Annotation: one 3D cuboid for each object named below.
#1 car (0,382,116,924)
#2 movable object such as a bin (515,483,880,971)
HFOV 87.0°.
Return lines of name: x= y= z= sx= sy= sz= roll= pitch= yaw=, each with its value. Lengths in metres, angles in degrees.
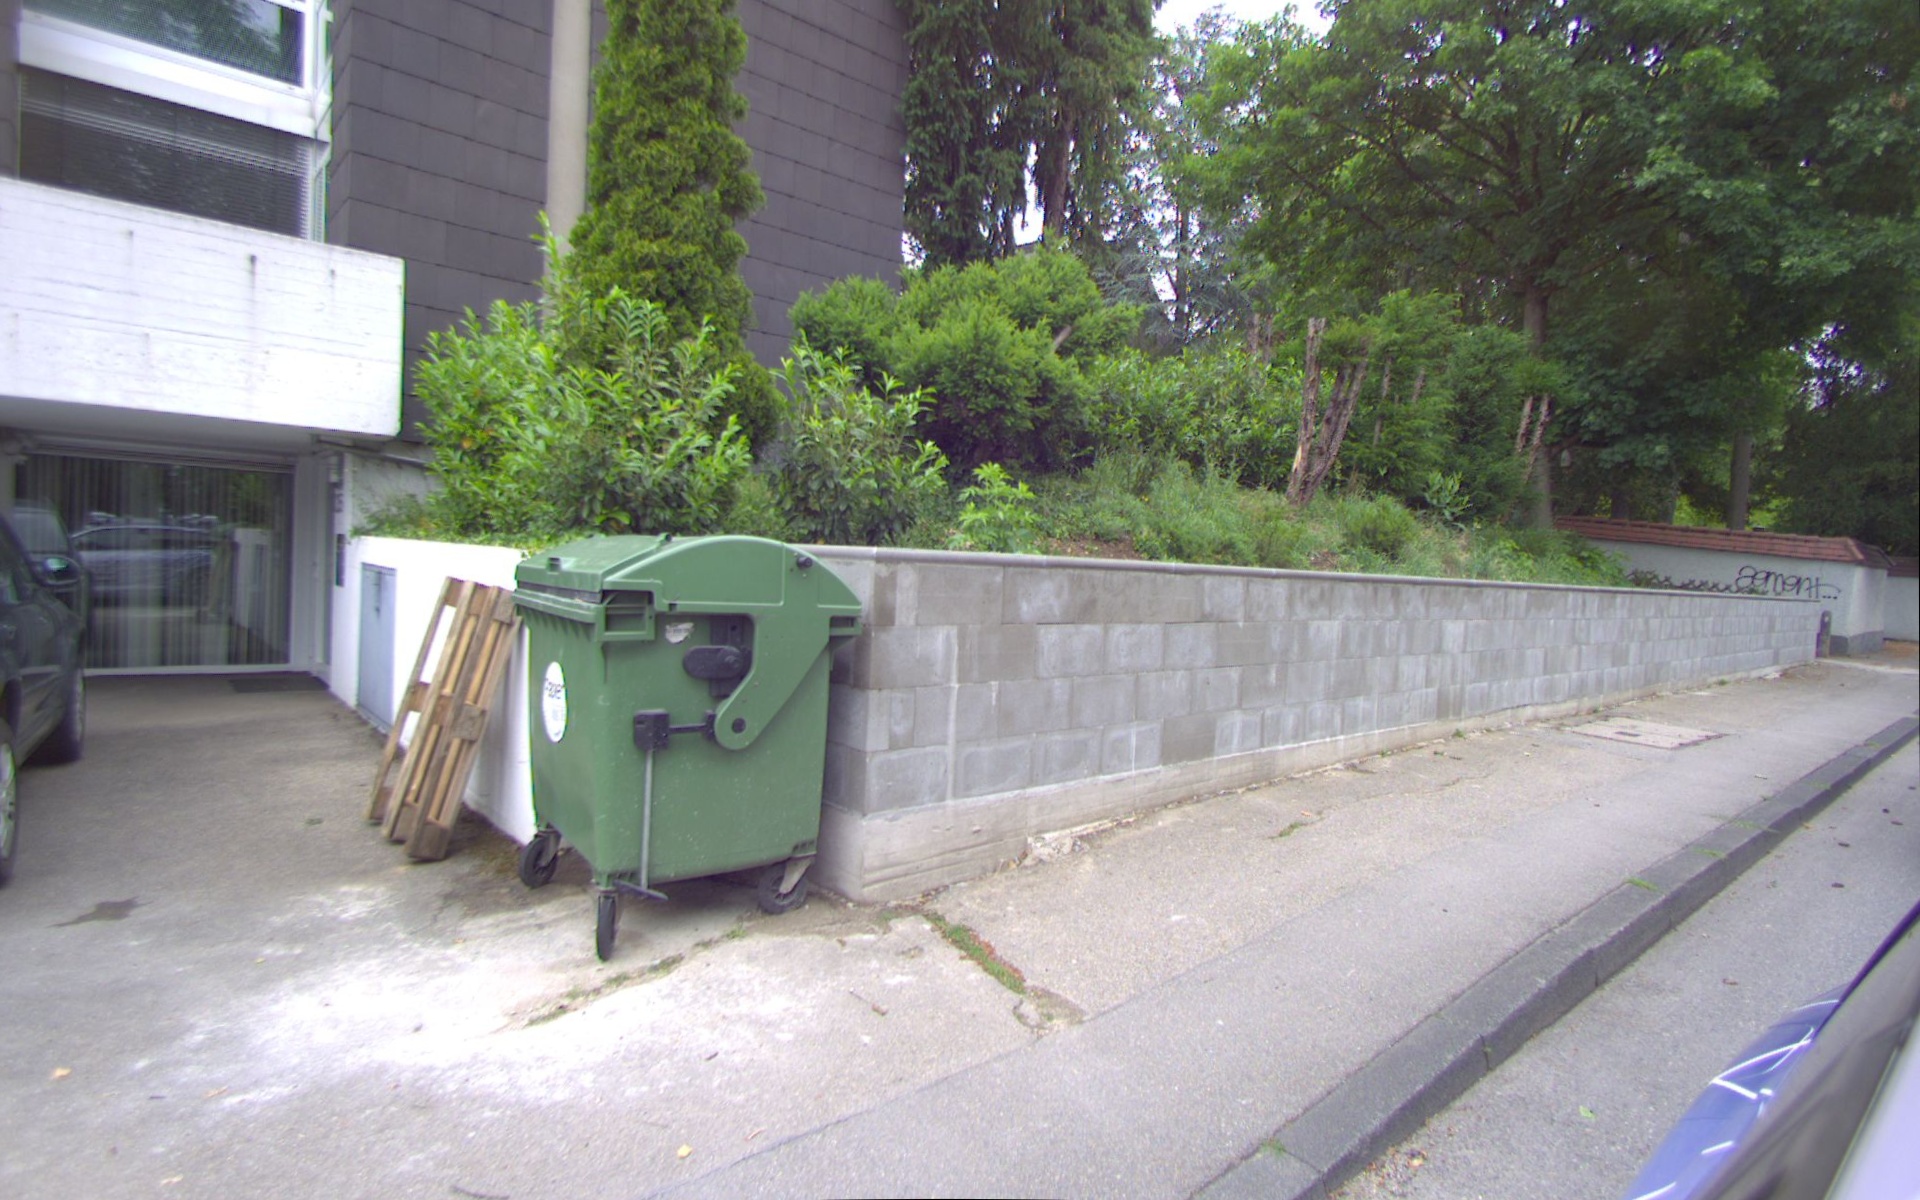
car: x=-5.000 y=0.080 z=4.387 sx=1.798 sy=1.771 sz=3.987 roll=0 pitch=3 yaw=-36
movable object such as a bin: x=-1.038 y=0.379 z=3.922 sx=1.014 sy=1.549 sz=1.037 roll=0 pitch=2 yaw=-39
